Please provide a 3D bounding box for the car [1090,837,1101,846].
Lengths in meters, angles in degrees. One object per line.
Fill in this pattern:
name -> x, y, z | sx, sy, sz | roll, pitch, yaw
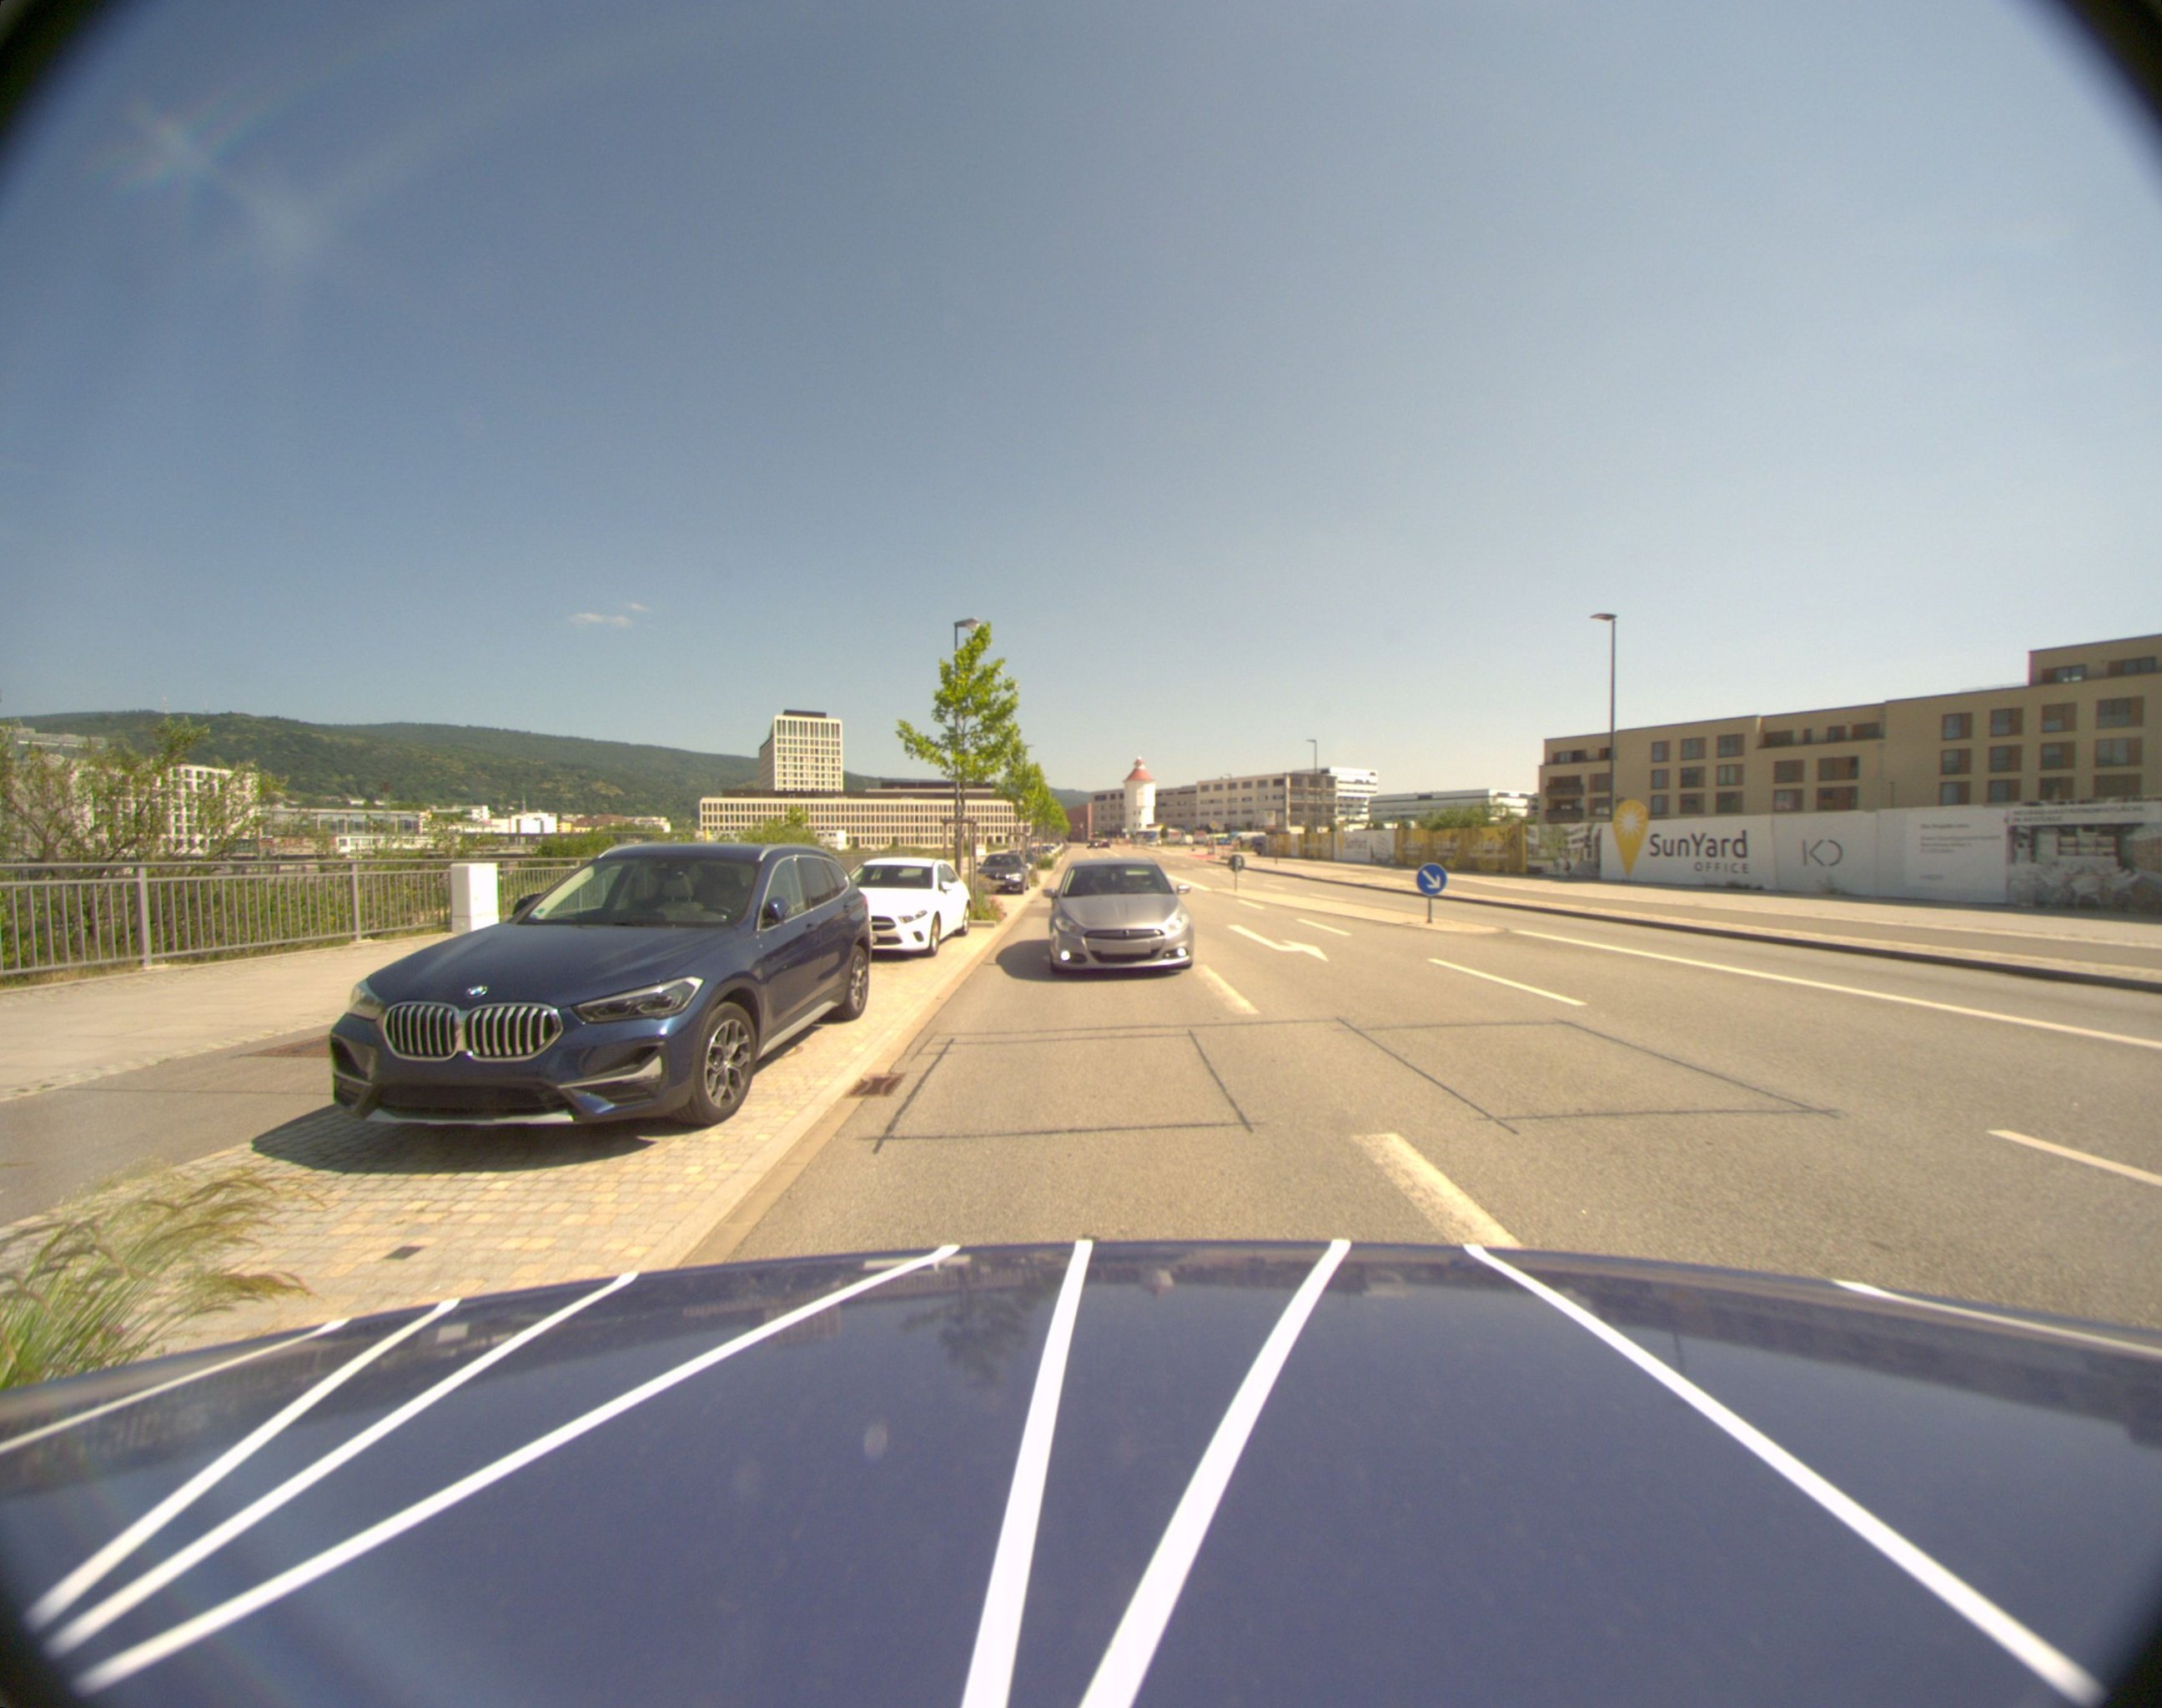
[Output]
car -> 2.640, -2.238, 138.072 | 1.819, 1.458, 4.347 | -3, 1, 2

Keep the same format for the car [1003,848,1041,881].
car -> -2.909, 0.493, 37.908 | 1.569, 1.465, 3.006 | 2, 1, 0

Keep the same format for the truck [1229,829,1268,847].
truck -> 23.339, -2.254, 105.912 | 5.005, 2.215, 1.999 | -2, 1, -1

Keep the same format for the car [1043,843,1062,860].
car -> -2.651, -0.282, 70.760 | 1.526, 1.482, 3.504 | -3, 1, 0

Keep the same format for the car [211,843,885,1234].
car -> -2.872, 0.781, 5.453 | 1.808, 1.674, 4.270 | 1, 1, 0

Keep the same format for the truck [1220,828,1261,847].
truck -> 23.745, -2.459, 113.284 | 5.633, 2.461, 1.999 | -3, 1, -4

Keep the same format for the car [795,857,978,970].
car -> -2.919, 0.811, 12.401 | 1.710, 1.366, 4.270 | 2, 1, 2

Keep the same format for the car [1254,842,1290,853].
car -> 19.609, -0.637, 77.990 | 3.359, 0.947, 1.293 | -2, 1, 3

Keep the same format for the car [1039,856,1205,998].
car -> 0.487, 0.814, 10.580 | 1.820, 1.459, 4.346 | -1, 1, 1

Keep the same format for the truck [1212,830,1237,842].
truck -> 33.431, -4.177, 177.273 | 5.333, 2.461, 1.999 | -3, 1, -4

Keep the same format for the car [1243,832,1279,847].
car -> 22.867, -1.868, 96.525 | 3.930, 1.708, 1.891 | -3, 1, -5

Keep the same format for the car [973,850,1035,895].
car -> -2.744, 0.636, 27.793 | 1.808, 1.424, 3.915 | 2, 1, 0

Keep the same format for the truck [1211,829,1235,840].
truck -> 34.648, -4.649, 185.311 | 5.412, 2.461, 1.999 | -2, 1, -2

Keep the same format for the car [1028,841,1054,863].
car -> -3.207, -0.160, 61.171 | 1.768, 1.609, 3.374 | -3, 1, 0

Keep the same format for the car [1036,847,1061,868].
car -> -2.159, 0.228, 50.687 | 1.490, 1.302, 3.154 | 2, 1, 0
